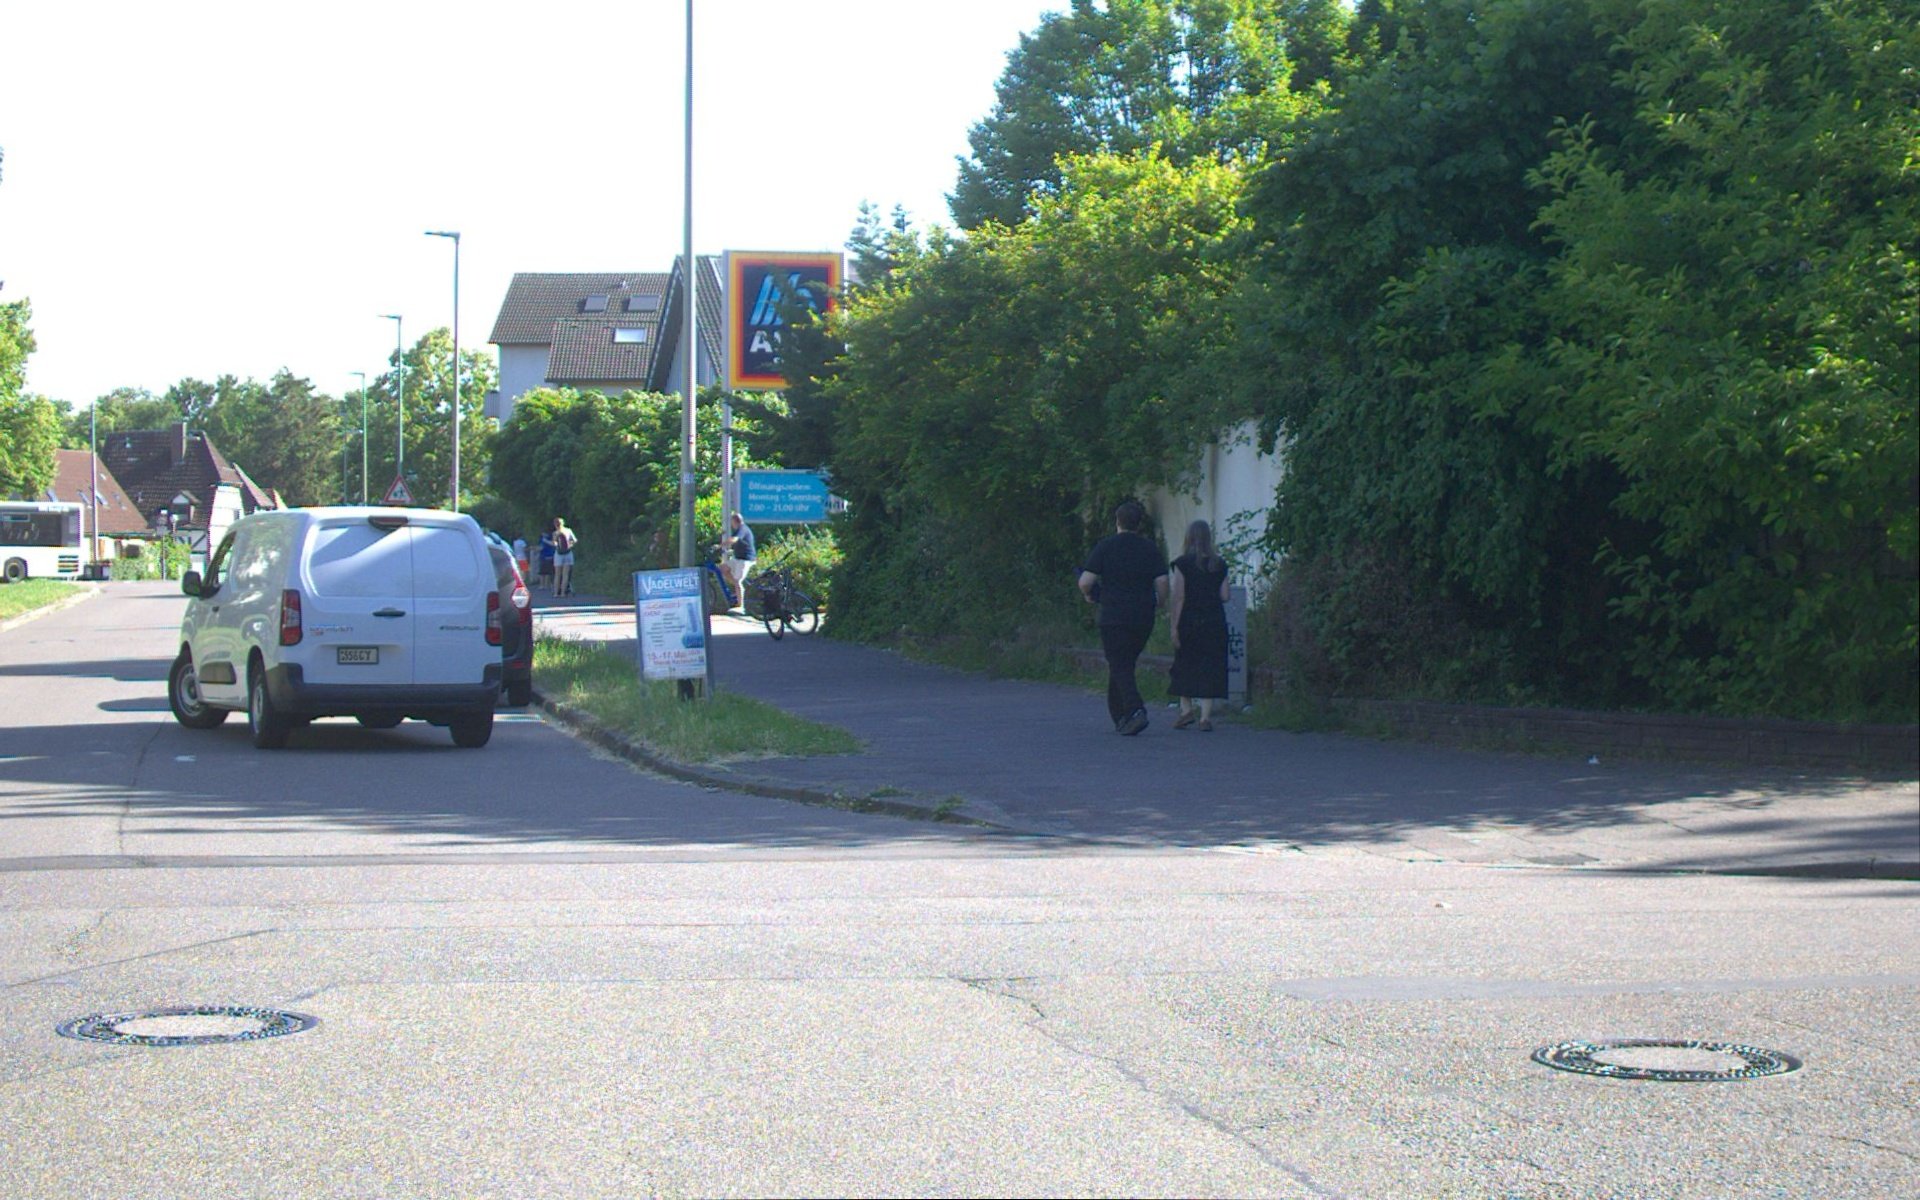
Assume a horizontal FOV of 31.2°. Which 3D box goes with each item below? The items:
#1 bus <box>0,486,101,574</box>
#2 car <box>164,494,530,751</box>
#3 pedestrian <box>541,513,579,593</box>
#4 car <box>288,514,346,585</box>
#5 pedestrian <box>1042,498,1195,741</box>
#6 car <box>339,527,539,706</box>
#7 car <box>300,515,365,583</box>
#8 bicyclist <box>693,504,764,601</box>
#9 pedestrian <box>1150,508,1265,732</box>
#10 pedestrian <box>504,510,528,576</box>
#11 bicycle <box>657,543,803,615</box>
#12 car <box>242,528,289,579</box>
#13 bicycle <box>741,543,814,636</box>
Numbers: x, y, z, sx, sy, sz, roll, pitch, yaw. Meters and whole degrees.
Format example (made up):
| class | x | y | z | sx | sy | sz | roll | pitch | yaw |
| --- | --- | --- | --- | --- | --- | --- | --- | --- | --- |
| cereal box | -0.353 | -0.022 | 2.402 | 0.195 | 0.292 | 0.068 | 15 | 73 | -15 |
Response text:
| class | x | y | z | sx | sy | sz | roll | pitch | yaw |
| --- | --- | --- | --- | --- | --- | --- | --- | --- | --- |
| bus | -32.757 | -2.233 | 110.113 | 3.044 | 2.815 | 10.568 | 1 | 1 | 38 |
| car | -4.966 | 0.127 | 27.383 | 1.993 | 1.875 | 4.290 | 0 | 1 | -23 |
| pedestrian | -8.901 | -1.045 | 76.613 | 0.798 | 1.775 | 0.809 | 0 | 1 | -3 |
| car | -24.093 | -1.867 | 128.715 | 1.866 | 2.554 | 4.769 | 2 | 0 | -13 |
| pedestrian | 1.147 | 0.139 | 25.046 | 0.803 | 1.711 | 0.984 | -2 | 0 | -15 |
| car | -5.221 | 0.104 | 34.066 | 1.724 | 1.651 | 4.354 | 0 | 1 | -12 |
| car | -17.477 | -1.408 | 95.678 | 1.724 | 1.831 | 4.001 | 0 | 1 | -11 |
| bicyclist | -3.832 | -0.780 | 56.833 | 0.963 | 1.579 | 0.909 | -1 | -1 | -17 |
| pedestrian | 1.817 | 0.146 | 25.322 | 0.573 | 1.604 | 0.793 | -2 | 0 | -15 |
| pedestrian | -11.088 | -1.423 | 85.873 | 0.567 | 1.631 | 0.546 | 0 | 1 | -6 |
| bicycle | -3.802 | -0.355 | 56.844 | 2.271 | 1.135 | 0.789 | -1 | 0 | -18 |
| car | -29.694 | -1.973 | 146.909 | 1.803 | 2.062 | 4.001 | 2 | 0 | -13 |
| bicycle | -2.470 | -0.141 | 46.718 | 0.720 | 1.216 | 1.895 | -2 | 0 | 5 |
